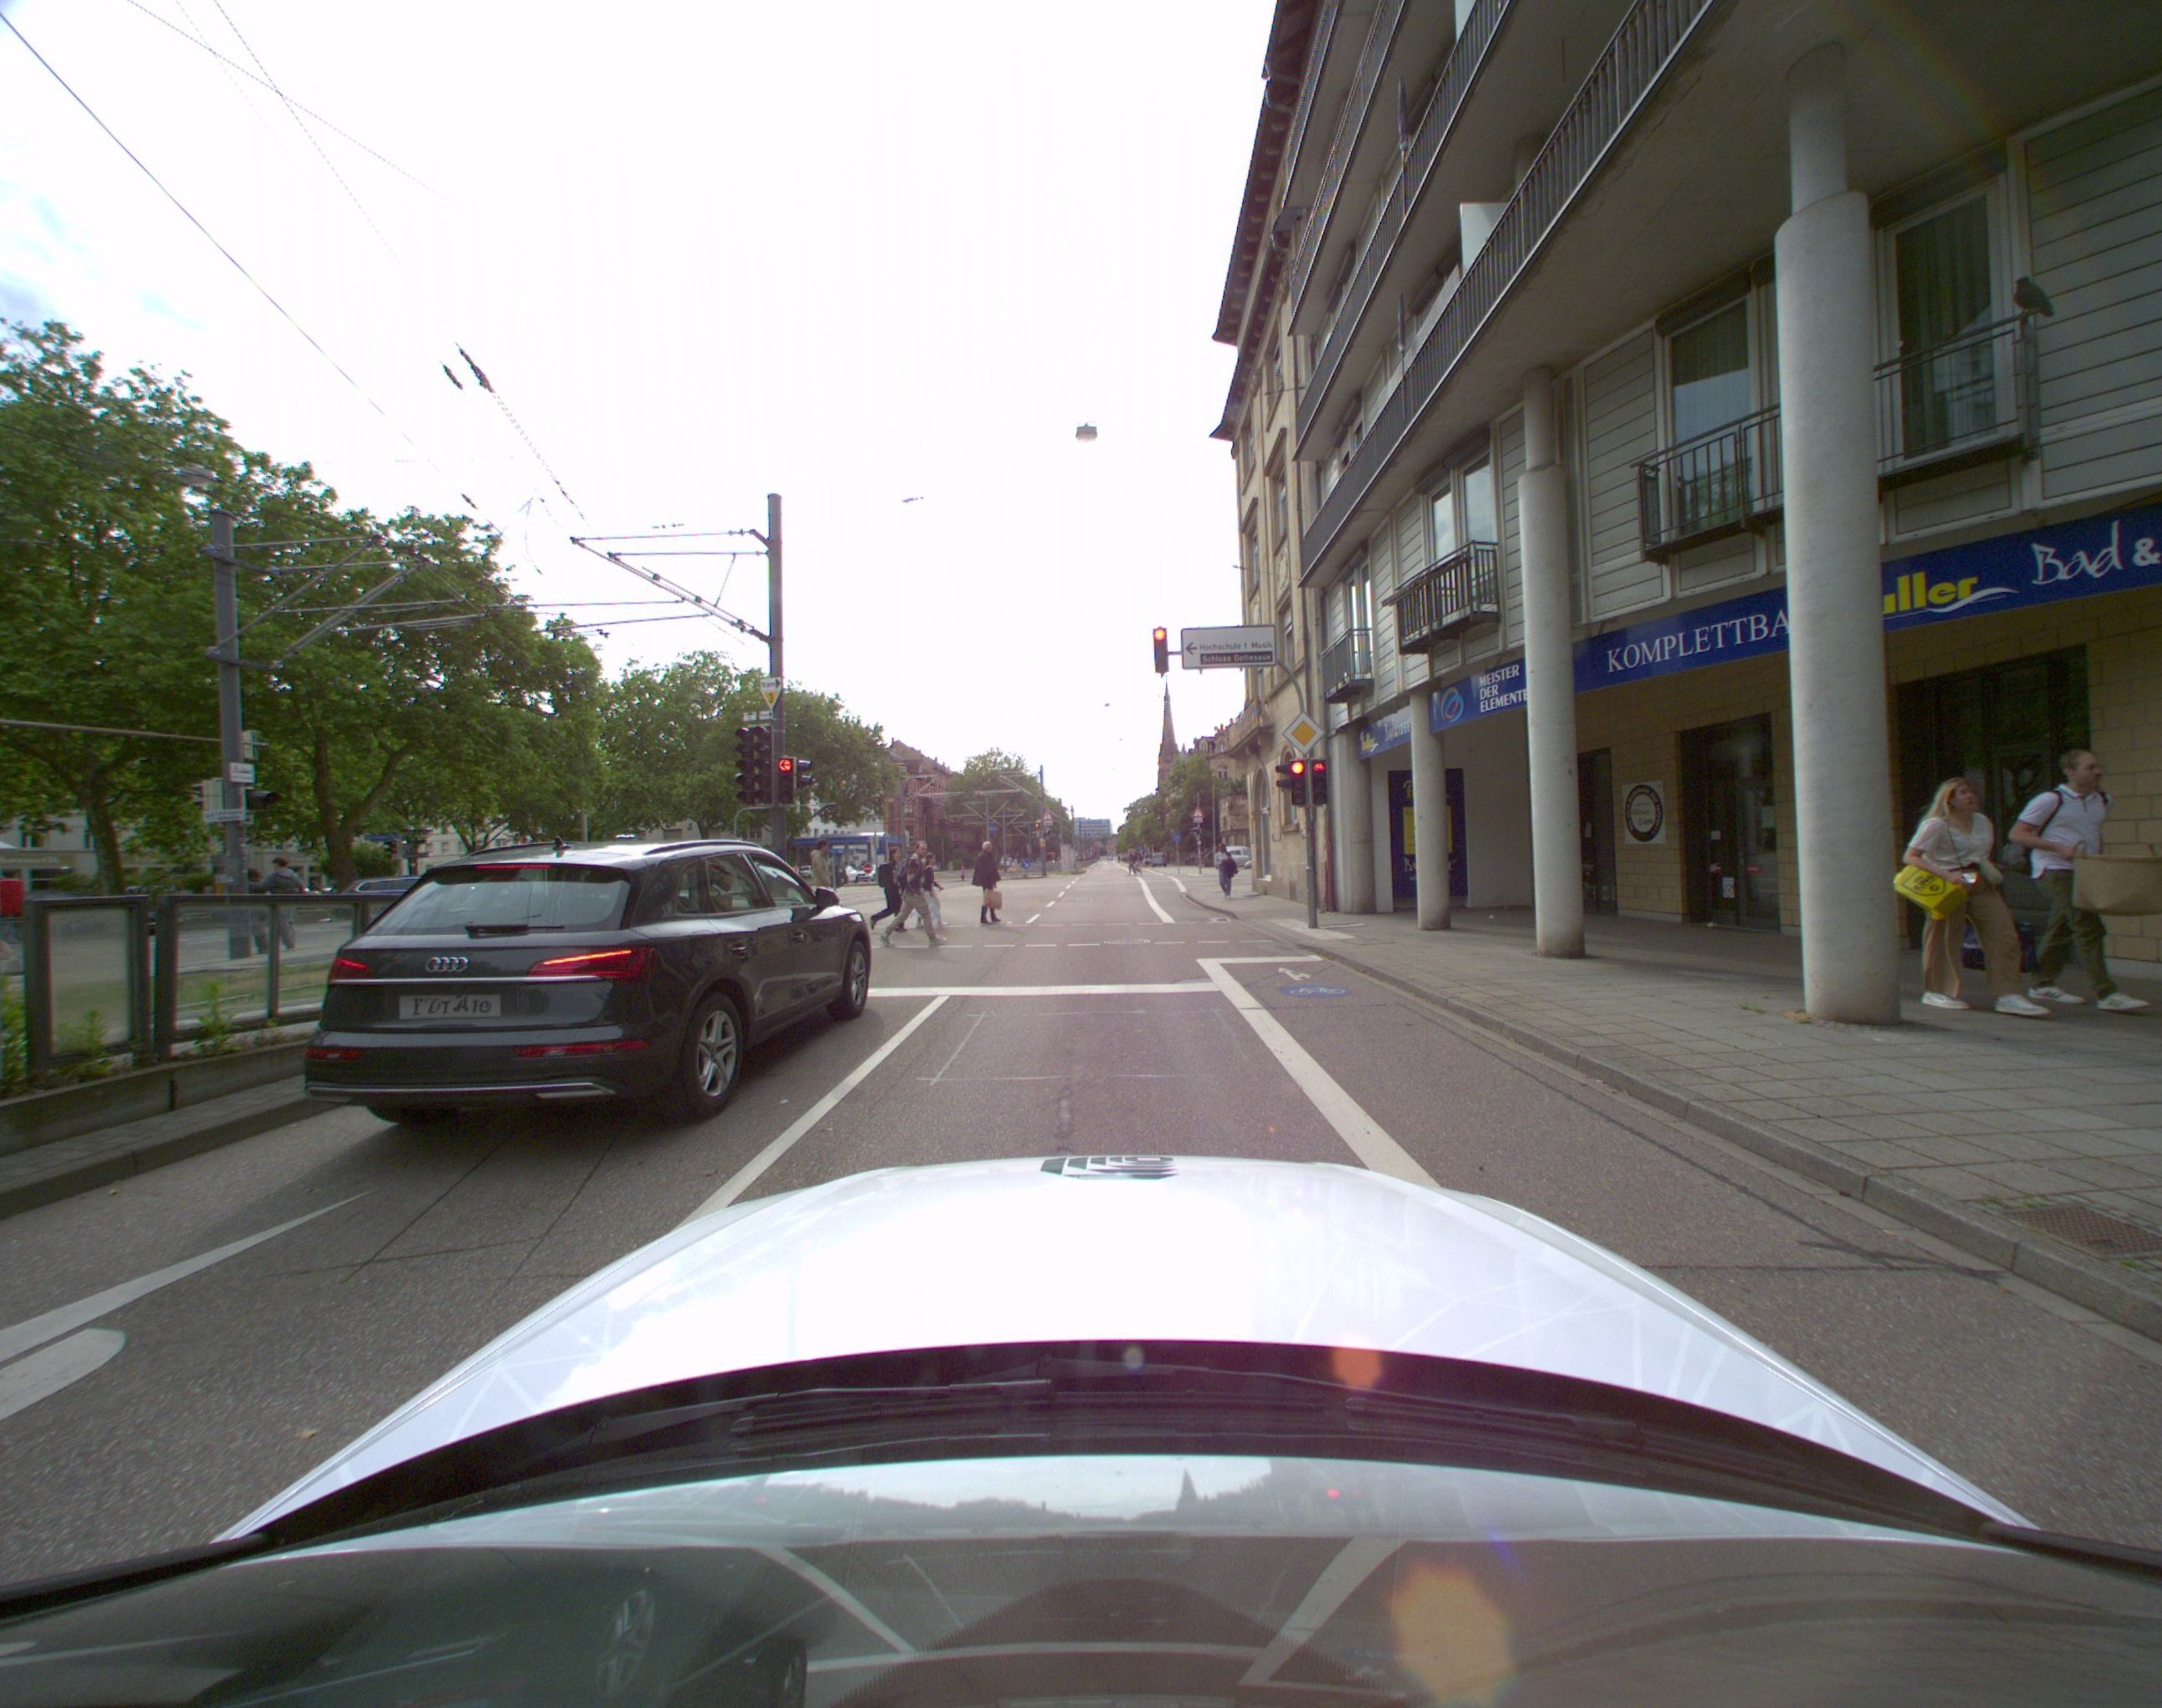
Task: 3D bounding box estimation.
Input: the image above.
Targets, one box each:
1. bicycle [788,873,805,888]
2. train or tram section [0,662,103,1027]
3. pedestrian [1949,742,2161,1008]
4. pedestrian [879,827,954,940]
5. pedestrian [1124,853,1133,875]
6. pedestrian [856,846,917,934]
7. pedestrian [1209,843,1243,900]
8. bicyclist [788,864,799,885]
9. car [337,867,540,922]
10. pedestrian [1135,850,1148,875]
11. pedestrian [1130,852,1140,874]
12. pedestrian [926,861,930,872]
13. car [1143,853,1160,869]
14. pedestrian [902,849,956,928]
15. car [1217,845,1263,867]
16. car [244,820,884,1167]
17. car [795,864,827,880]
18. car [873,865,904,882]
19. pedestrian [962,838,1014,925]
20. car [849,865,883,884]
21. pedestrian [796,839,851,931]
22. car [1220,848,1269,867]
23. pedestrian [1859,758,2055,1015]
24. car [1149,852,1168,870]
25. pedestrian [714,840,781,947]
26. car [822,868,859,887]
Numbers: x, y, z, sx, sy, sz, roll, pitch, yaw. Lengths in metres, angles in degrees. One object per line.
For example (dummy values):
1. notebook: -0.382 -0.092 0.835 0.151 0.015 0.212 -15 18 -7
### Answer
1. bicycle: -21.153 1.957 60.581 0.520 1.017 1.937 -1 0 2
2. train or tram section: -12.369 -0.123 0.913 3.048 3.588 15.854 -1 0 2
3. pedestrian: 7.423 0.152 6.237 0.672 1.890 0.738 -3 0 3
4. pedestrian: -2.725 0.472 13.431 1.132 1.778 0.625 -1 -1 -16
5. pedestrian: 3.343 0.672 57.450 0.544 1.537 0.465 -1 -1 -3
6. pedestrian: -3.781 0.686 15.880 0.620 1.652 1.003 -1 -1 32
7. pedestrian: 4.406 0.518 24.696 0.663 1.680 0.874 -1 -1 40
8. bicyclist: -21.378 1.503 60.541 0.585 1.567 0.619 -1 -1 1
9. car: -19.284 1.169 24.693 4.446 1.510 1.826 0 -1 -20
10. pedestrian: 4.080 0.562 55.173 0.848 1.654 0.508 -1 -1 -1
11. pedestrian: 3.785 0.619 56.947 0.651 1.537 0.465 -1 -1 -3
12. pedestrian: -21.852 1.782 116.288 0.528 1.460 0.447 0 -1 -43
13. car: 9.051 0.883 104.515 1.986 2.014 4.001 -1 0 2
14. pedestrian: -3.150 0.697 16.914 0.693 1.593 0.836 -1 -1 39
15. car: 14.225 0.183 73.019 3.785 1.904 2.001 -1 -1 1
16. car: -2.979 0.672 6.036 1.873 1.601 4.358 -1 0 1
17. car: -28.528 1.880 86.234 1.986 1.530 4.001 -1 0 2
18. car: -18.373 1.821 77.867 1.887 1.557 3.838 -1 0 2
19. pedestrian: -1.980 0.565 17.320 0.906 1.784 0.651 -1 -1 39
20. car: -18.692 1.782 70.950 1.887 1.557 3.838 -1 0 2
21. pedestrian: -5.206 0.605 16.474 1.015 1.813 0.580 0 -1 -22
22. car: 13.952 0.288 69.611 3.785 1.601 2.001 -1 0 1
23. pedestrian: 6.600 0.232 6.180 0.613 1.805 0.738 -3 0 3
24. car: 9.030 0.825 95.001 1.986 2.014 4.001 -1 0 2
25. pedestrian: -5.358 0.615 13.103 0.751 1.661 0.730 -1 -1 1
26. car: -18.972 1.840 64.473 1.628 1.325 4.001 -1 0 2
